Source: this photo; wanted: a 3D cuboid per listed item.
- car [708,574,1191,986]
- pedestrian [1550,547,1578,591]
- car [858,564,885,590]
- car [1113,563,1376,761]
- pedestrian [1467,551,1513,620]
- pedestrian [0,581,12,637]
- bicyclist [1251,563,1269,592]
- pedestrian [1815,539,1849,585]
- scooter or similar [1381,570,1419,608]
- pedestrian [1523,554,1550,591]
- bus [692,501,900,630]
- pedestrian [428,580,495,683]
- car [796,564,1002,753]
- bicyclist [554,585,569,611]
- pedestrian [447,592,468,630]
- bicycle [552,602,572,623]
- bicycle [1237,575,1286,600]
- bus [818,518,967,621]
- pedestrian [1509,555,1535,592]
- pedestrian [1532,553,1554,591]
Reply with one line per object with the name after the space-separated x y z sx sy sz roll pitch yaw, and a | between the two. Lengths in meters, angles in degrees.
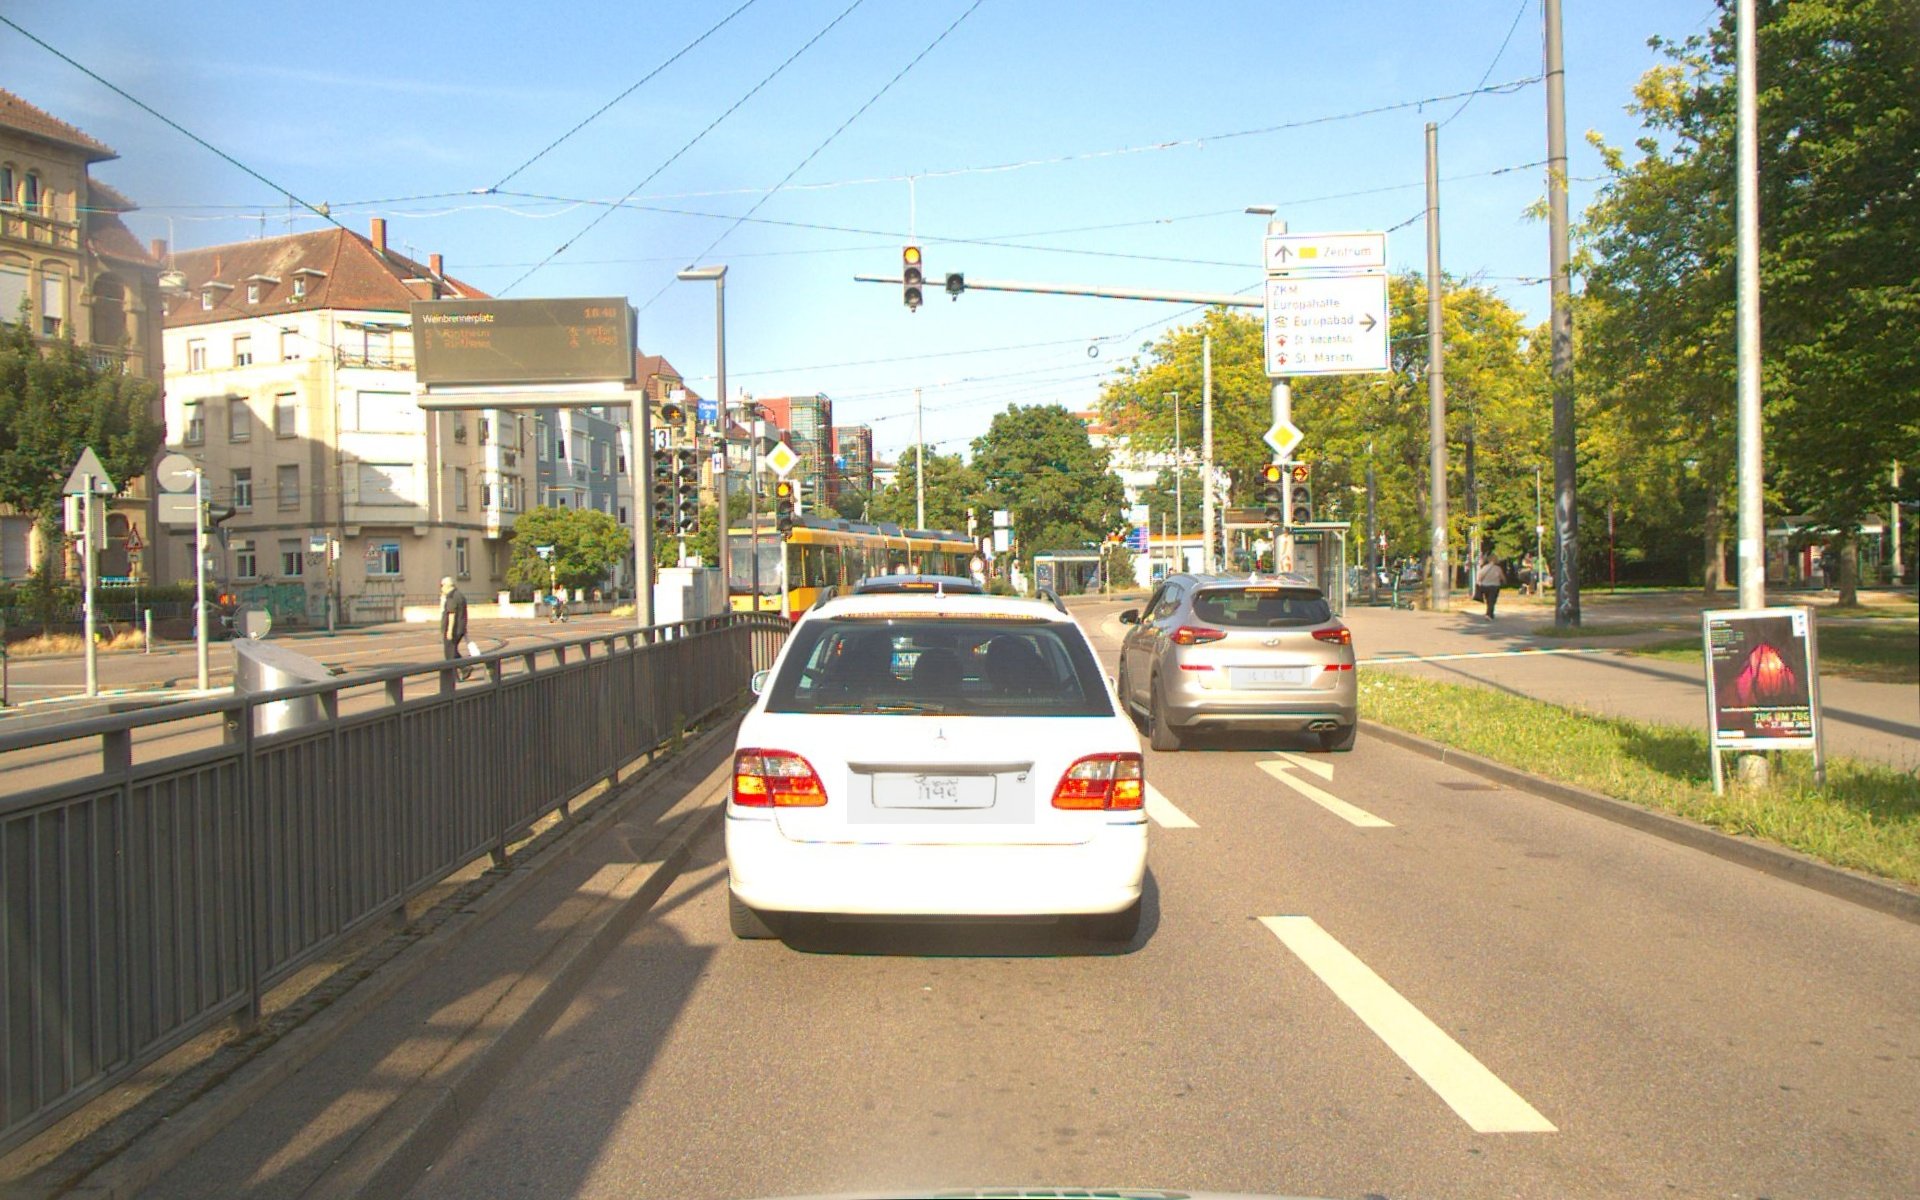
-0.076 0.638 7.857 1.759 1.496 3.647 0 1 -1 | car
25.100 -1.288 68.782 0.784 1.816 0.838 -1 0 -6 | pedestrian
-7.158 -1.826 134.364 2.033 2.049 4.162 1 0 -1 | car
2.659 0.522 16.264 1.847 1.680 3.647 -2 1 -1 | car
13.087 -0.361 40.831 0.748 1.665 0.797 -2 0 -41 | pedestrian
-26.524 0.242 45.536 0.428 1.527 0.549 -1 0 13 | pedestrian
15.615 -1.160 86.034 0.842 1.507 0.790 -1 0 7 | bicyclist
31.872 -1.387 60.431 0.818 1.665 0.803 -1 0 5 | pedestrian
13.322 -0.327 50.109 0.413 1.136 1.322 -1 0 -21 | scooter or similar
24.078 -1.159 69.111 0.799 1.513 0.698 -1 0 -12 | pedestrian
-4.928 -0.974 53.306 3.042 3.669 12.385 1 0 12 | bus
-8.314 0.511 27.607 0.744 1.674 0.788 -1 1 45 | pedestrian
-0.591 0.514 16.824 1.847 1.680 3.647 1 0 -1 | car
-17.199 -0.089 71.408 0.502 1.062 0.679 -1 0 -2 | bicyclist
-20.986 0.457 69.044 0.616 1.568 0.710 -1 0 -2 | pedestrian
-17.177 0.524 71.409 0.515 0.849 1.686 -1 1 -2 | bicycle
15.666 -0.660 86.037 2.430 1.234 0.807 -1 0 7 | bicycle
-2.407 -1.085 65.547 3.042 3.669 12.601 1 0 11 | bus
23.277 -1.092 68.482 0.809 1.513 0.689 -2 0 -43 | pedestrian
23.834 -1.136 67.593 0.796 1.513 0.700 -1 0 23 | pedestrian
